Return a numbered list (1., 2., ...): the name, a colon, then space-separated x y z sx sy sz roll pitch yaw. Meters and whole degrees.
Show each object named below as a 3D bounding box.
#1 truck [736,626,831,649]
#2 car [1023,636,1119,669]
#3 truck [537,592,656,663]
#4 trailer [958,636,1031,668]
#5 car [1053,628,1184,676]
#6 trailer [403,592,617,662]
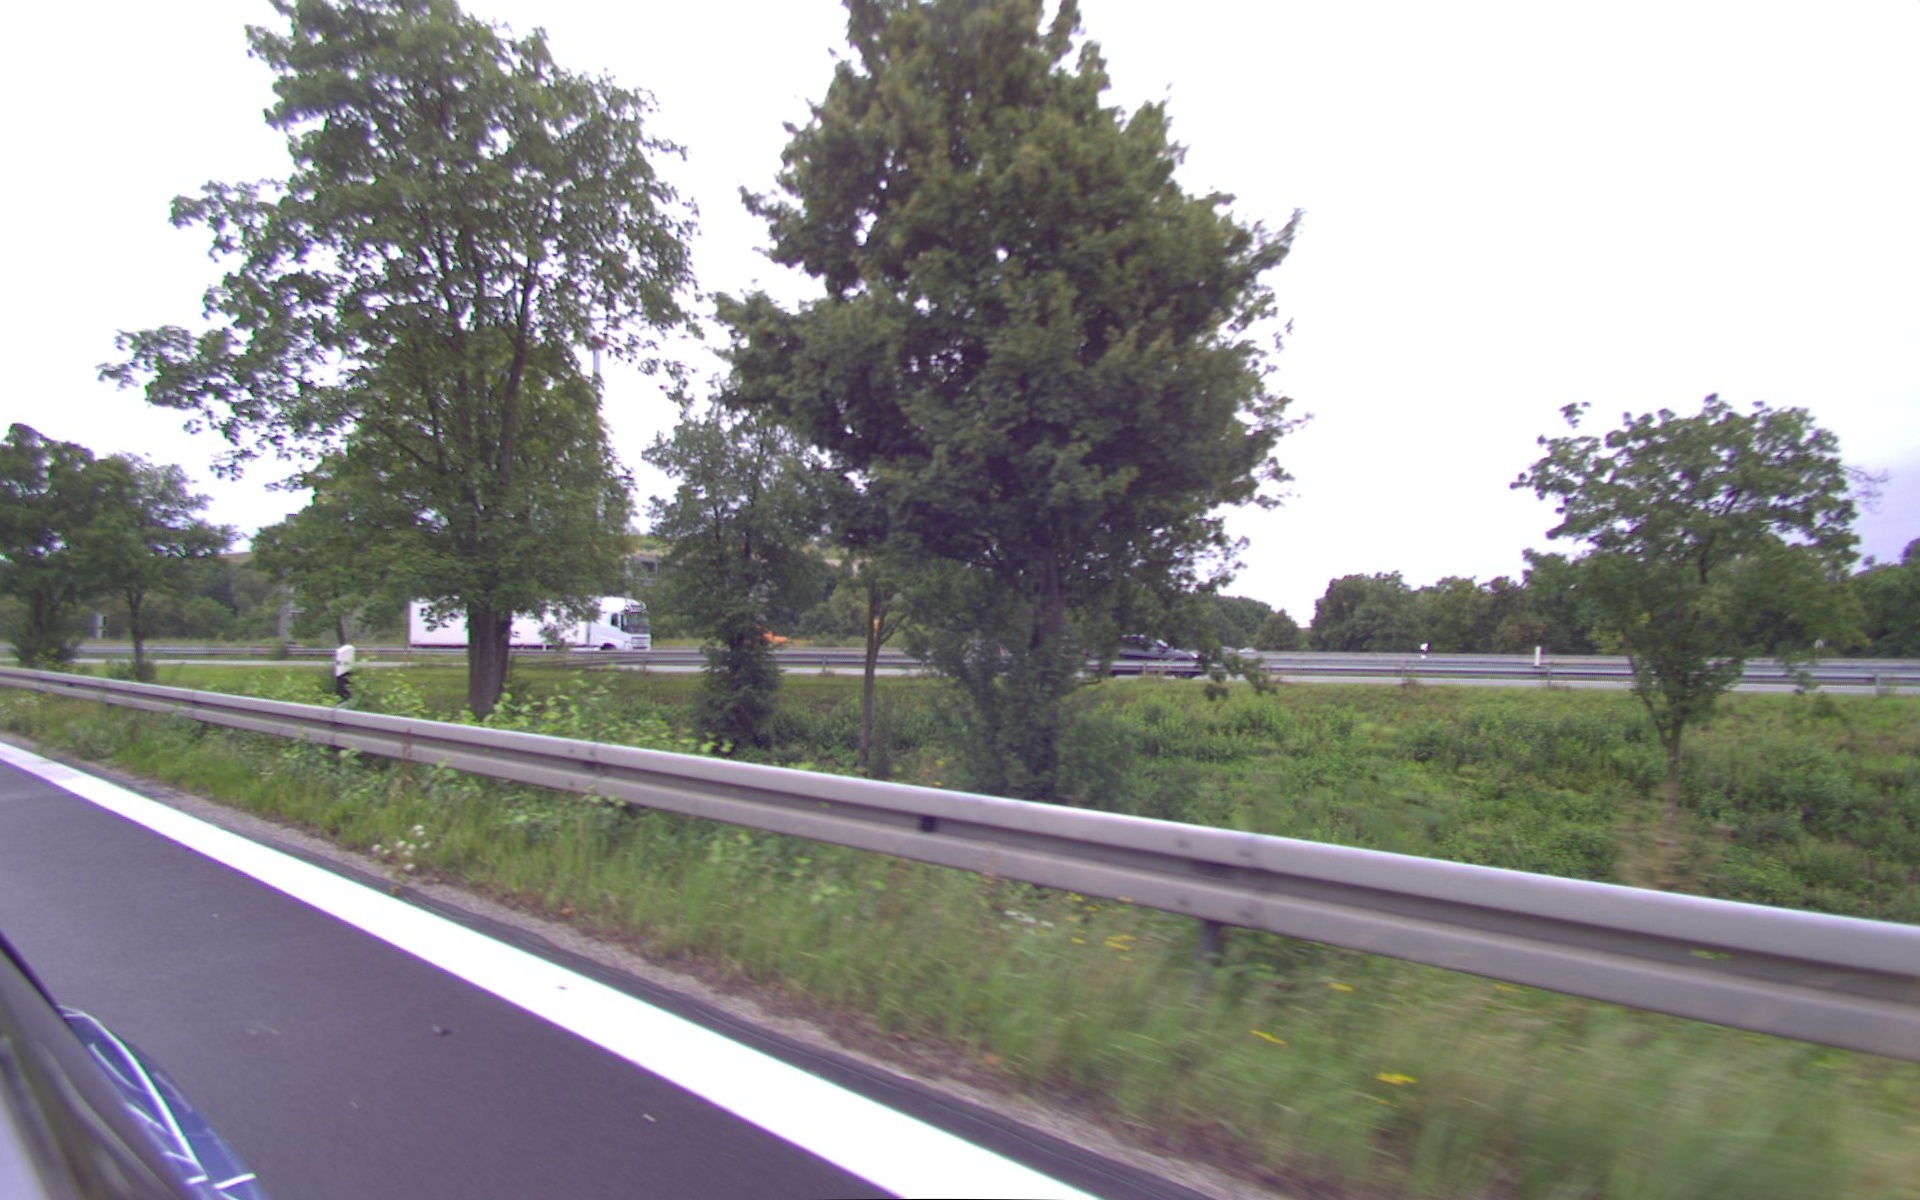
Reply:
1. truck: -16.151 3.410 92.475 8.747 2.029 1.987 0 -2 20
2. car: 5.793 2.723 52.817 4.766 1.638 1.877 0 -2 18
3. truck: -21.964 1.691 61.178 6.390 4.167 2.759 -1 -2 17
4. trailer: 1.847 2.738 54.081 3.580 1.638 1.877 0 -2 18
5. car: 5.832 1.854 37.041 4.516 1.650 1.956 0 -2 18
6. trailer: -28.125 1.714 63.117 13.832 4.167 2.759 -1 -2 17
